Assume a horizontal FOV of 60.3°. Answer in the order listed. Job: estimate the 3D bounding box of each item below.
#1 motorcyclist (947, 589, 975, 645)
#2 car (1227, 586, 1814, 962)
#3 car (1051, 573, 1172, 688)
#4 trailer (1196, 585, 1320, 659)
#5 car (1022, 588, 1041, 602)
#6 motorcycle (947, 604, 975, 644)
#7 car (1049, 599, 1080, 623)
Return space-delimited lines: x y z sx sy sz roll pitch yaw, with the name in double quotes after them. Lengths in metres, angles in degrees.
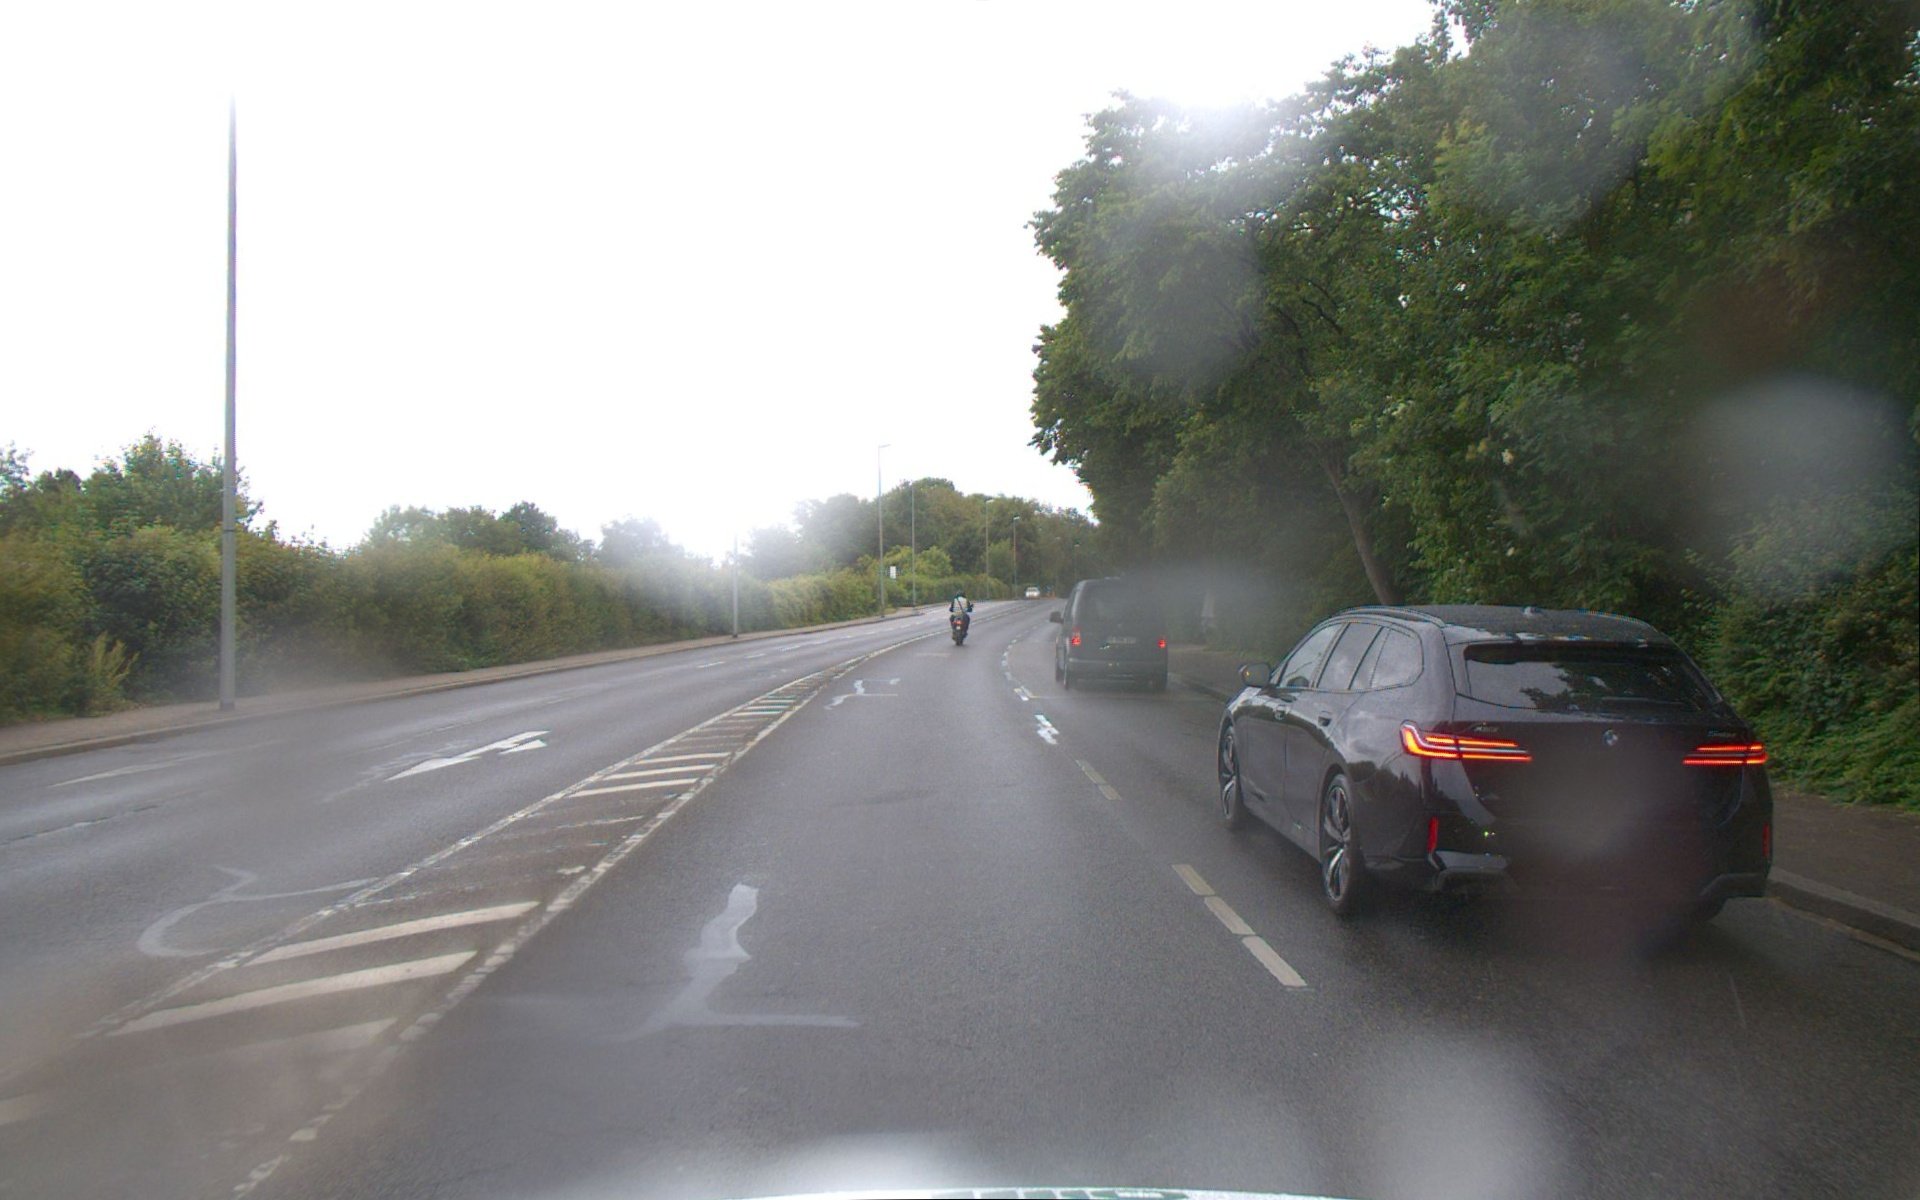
0.035 0.513 50.377 0.827 1.675 0.468 0 1 4 "motorcyclist"
2.703 0.751 8.898 1.729 1.563 3.670 2 0 -3 "car"
2.566 0.474 28.819 1.731 1.841 3.905 0 1 0 "car"
8.707 0.628 48.523 3.281 1.675 1.199 8 1 3 "trailer"
8.901 -0.627 206.003 1.715 1.691 3.850 1 1 -6 "car"
0.036 0.731 50.435 0.725 1.139 1.427 1 1 4 "motorcycle"
7.284 0.743 115.092 1.972 1.440 4.490 1 2 6 "car"
